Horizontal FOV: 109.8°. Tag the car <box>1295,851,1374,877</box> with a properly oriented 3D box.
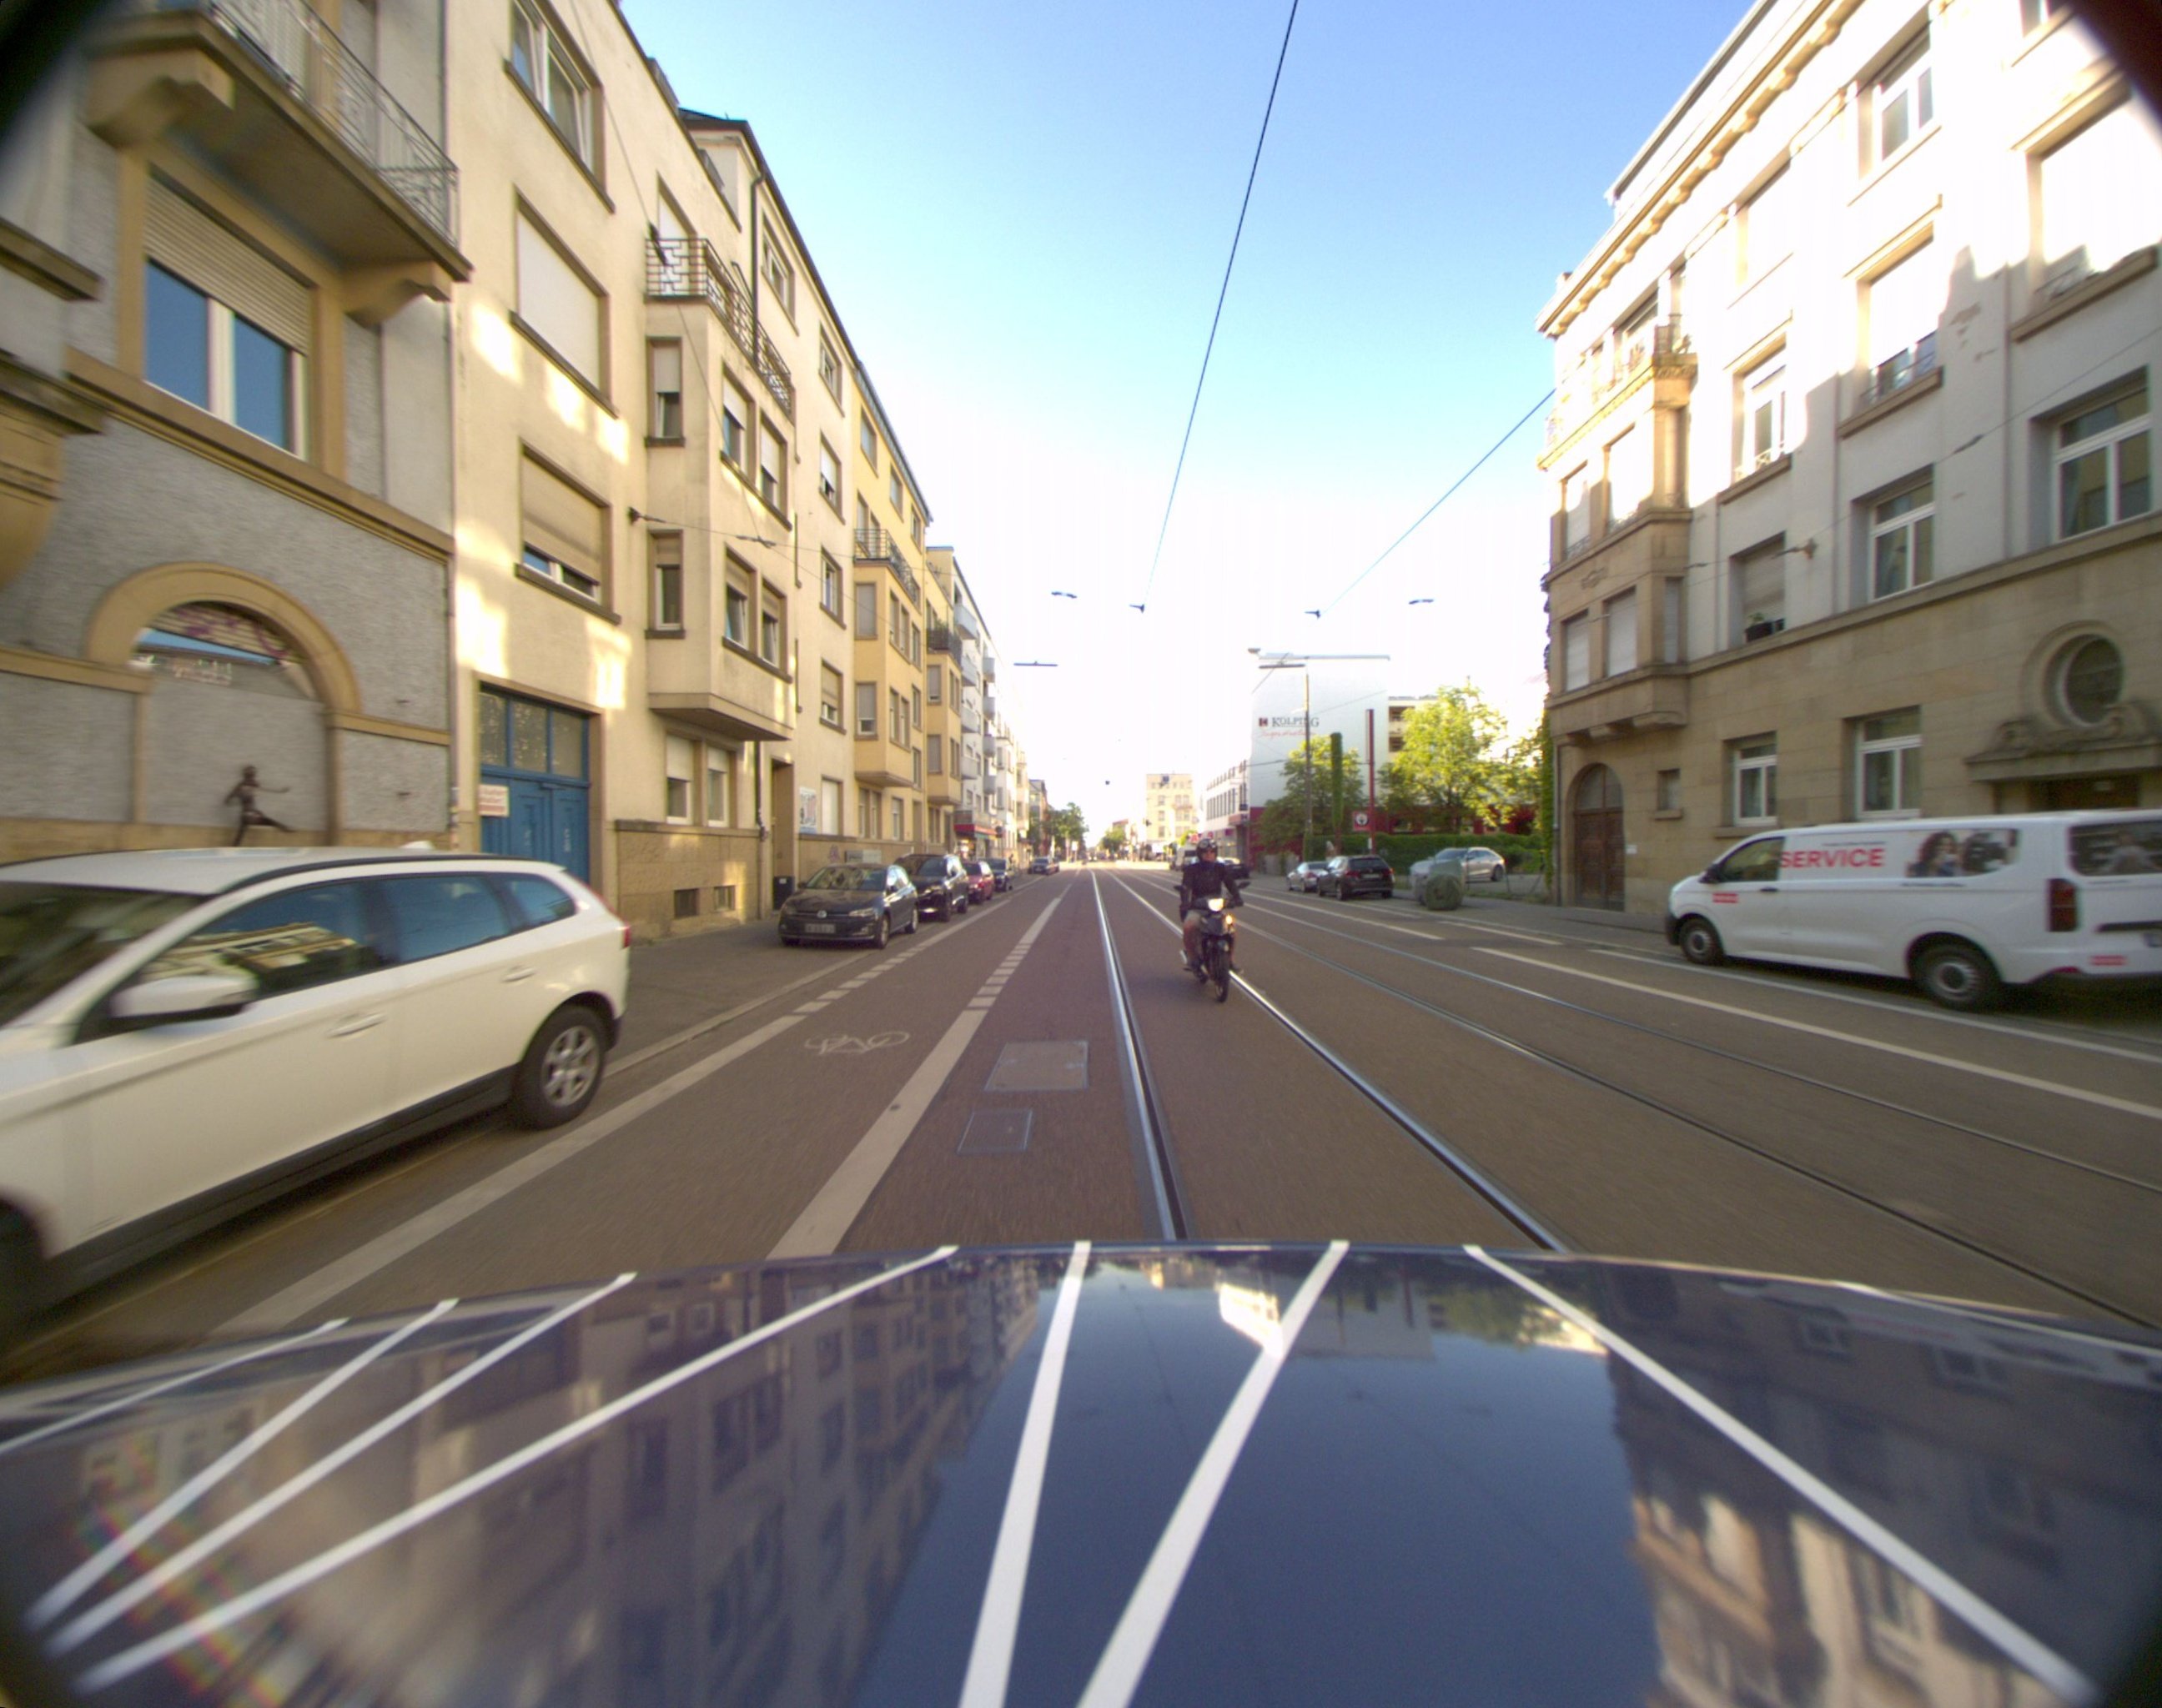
[{"bbox_3d":[15.877,0.597,47.770,4.372,1.588,2.000,0,0,2],"label":"car"}]

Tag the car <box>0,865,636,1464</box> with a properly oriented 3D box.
[{"bbox_3d":[-4.044,0.925,3.010,1.847,1.681,4.505,0,0,1],"label":"car"}]

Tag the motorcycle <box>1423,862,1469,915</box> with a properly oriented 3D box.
[{"bbox_3d":[10.062,0.908,20.915,0.884,1.343,1.961,0,1,33],"label":"motorcycle"}]

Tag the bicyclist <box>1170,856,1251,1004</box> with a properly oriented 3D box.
[{"bbox_3d":[1.403,0.787,8.380,0.774,1.531,0.939,0,1,3],"label":"bicyclist"}]

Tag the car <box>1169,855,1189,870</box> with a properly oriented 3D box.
[{"bbox_3d":[10.719,0.927,83.393,1.787,1.543,3.993,-2,0,2],"label":"car"}]

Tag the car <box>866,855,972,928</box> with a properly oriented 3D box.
[{"bbox_3d":[-4.018,0.854,19.612,1.864,1.656,4.560,0,0,-1],"label":"car"}]

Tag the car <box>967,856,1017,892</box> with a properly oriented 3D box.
[{"bbox_3d":[-3.972,0.875,34.528,1.722,1.482,4.002,1,0,1],"label":"car"}]

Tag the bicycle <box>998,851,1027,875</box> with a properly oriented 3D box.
[{"bbox_3d":[-4.913,0.616,54.491,1.935,1.700,0.775,0,1,1],"label":"bicycle"}]

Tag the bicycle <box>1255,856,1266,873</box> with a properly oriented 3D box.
[{"bbox_3d":[13.075,0.756,55.383,0.440,1.168,2.050,0,1,2],"label":"bicycle"}]

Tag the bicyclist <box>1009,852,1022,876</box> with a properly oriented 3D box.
[{"bbox_3d":[-4.705,0.733,54.577,0.844,1.692,0.510,0,1,3],"label":"bicyclist"}]

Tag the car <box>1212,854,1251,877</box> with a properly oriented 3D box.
[{"bbox_3d":[10.198,0.721,51.741,1.787,1.437,4.841,-2,0,1],"label":"car"}]

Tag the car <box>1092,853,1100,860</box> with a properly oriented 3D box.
[{"bbox_3d":[3.614,0.581,183.699,1.970,1.577,4.000,0,0,1],"label":"car"}]

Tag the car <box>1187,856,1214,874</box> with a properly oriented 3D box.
[{"bbox_3d":[10.394,0.950,66.567,1.787,1.390,4.445,-2,0,2],"label":"car"}]

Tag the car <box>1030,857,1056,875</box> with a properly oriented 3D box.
[{"bbox_3d":[-3.161,0.974,63.475,1.714,1.399,4.358,3,0,2],"label":"car"}]

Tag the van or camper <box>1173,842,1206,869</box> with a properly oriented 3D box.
[{"bbox_3d":[10.455,0.144,73.626,2.177,2.453,6.232,-2,0,0],"label":"van or camper"}]

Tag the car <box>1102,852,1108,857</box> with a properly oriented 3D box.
[{"bbox_3d":[7.613,0.074,241.564,1.970,1.577,4.001,0,0,3],"label":"car"}]

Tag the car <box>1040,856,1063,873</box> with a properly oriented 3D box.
[{"bbox_3d":[-2.845,1.001,73.996,1.861,1.498,4.096,3,0,2],"label":"car"}]

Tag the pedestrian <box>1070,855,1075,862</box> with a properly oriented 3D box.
[{"bbox_3d":[-1.403,0.744,131.384,0.774,1.197,0.610,0,1,-8],"label":"pedestrian"}]

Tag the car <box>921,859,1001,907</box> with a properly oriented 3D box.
[{"bbox_3d":[-4.021,0.939,26.302,1.863,1.447,4.710,0,0,2],"label":"car"}]

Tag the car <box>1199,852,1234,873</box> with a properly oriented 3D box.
[{"bbox_3d":[10.179,0.617,57.500,1.788,1.472,4.699,-2,0,0],"label":"car"}]

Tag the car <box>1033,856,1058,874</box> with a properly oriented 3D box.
[{"bbox_3d":[-3.198,1.003,68.794,1.861,1.464,3.989,3,0,2],"label":"car"}]

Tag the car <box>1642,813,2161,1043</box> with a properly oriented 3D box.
[{"bbox_3d":[9.628,0.600,9.053,1.978,1.937,5.251,-2,0,0],"label":"car"}]

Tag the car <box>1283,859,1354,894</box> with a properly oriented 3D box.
[{"bbox_3d":[10.150,0.921,32.804,1.787,1.306,4.221,-2,0,1],"label":"car"}]

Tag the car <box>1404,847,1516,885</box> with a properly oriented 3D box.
[{"bbox_3d":[15.970,0.460,31.939,4.805,1.509,1.995,0,0,-32],"label":"car"}]

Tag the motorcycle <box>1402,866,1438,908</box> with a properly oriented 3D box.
[{"bbox_3d":[10.193,0.967,22.808,0.739,1.164,2.184,0,0,31],"label":"motorcycle"}]

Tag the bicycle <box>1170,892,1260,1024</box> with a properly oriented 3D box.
[{"bbox_3d":[1.413,1.063,8.330,0.767,1.191,1.752,0,0,3],"label":"bicycle"}]

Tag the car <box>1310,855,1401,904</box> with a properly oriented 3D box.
[{"bbox_3d":[9.849,0.864,27.642,1.787,1.556,4.611,-2,0,3],"label":"car"}]

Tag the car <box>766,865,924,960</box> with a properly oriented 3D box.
[{"bbox_3d":[-4.148,0.957,14.030,1.742,1.433,4.032,0,0,-1],"label":"car"}]
